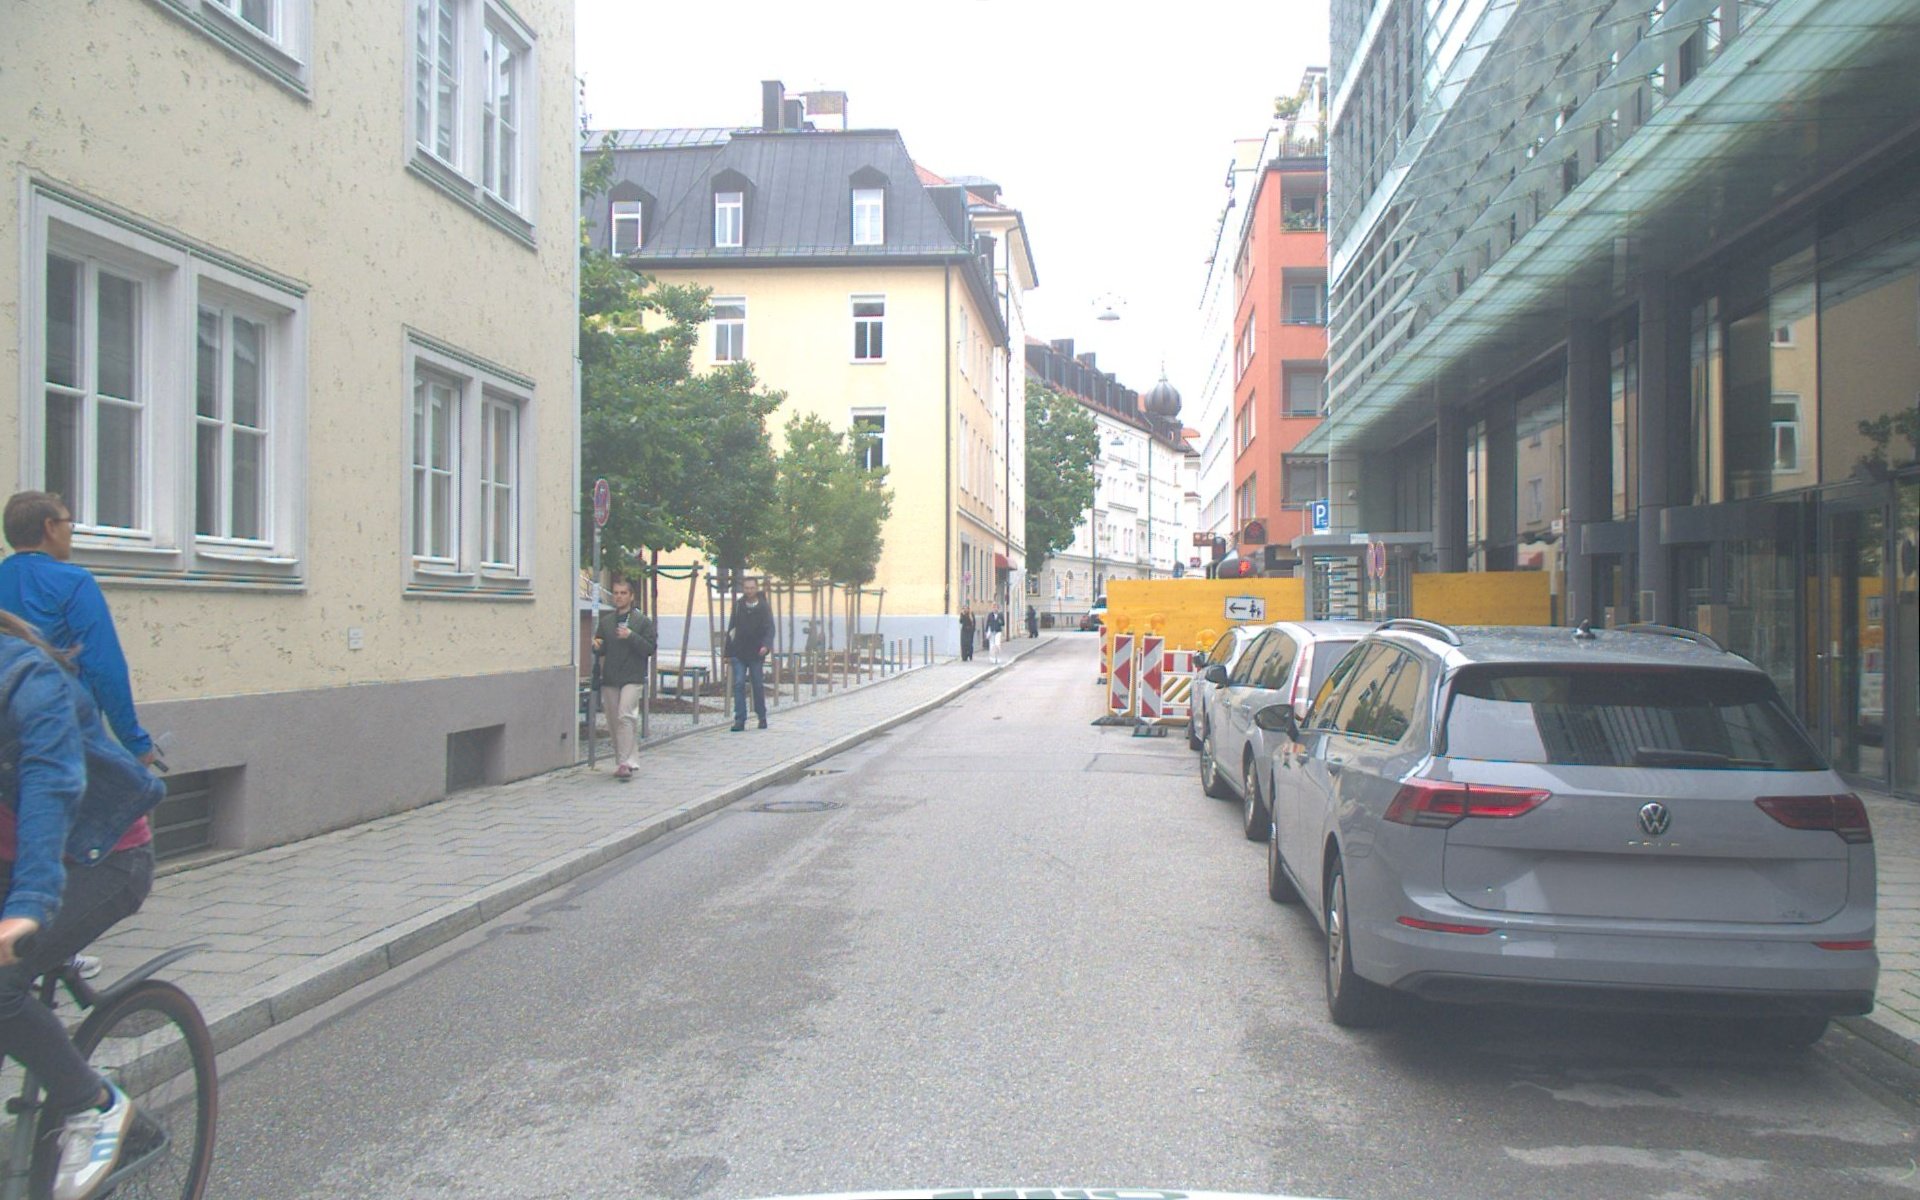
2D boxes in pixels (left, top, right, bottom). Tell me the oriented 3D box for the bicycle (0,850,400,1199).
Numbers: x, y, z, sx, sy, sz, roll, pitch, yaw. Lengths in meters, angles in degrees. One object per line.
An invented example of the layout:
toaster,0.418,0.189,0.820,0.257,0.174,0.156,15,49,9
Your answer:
bicycle,-1.788,1.069,3.158,0.693,0.921,1.810,-1,-1,5

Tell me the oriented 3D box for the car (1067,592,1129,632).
car,8.743,0.754,104.669,1.956,2.440,4.983,0,0,30

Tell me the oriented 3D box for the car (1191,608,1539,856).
car,2.810,0.844,12.392,1.672,1.493,4.238,1,-1,2

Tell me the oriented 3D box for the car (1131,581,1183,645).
car,8.216,0.540,69.465,1.951,2.581,4.977,1,0,5

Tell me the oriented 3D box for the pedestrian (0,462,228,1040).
pedestrian,-3.312,0.490,5.976,0.741,1.887,1.077,1,-1,5

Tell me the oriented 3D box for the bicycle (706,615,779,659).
bicycle,-6.261,1.056,47.560,2.000,1.219,0.570,1,-1,12

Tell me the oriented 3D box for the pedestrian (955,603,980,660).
pedestrian,0.221,0.944,49.291,0.656,1.677,0.762,1,-1,5

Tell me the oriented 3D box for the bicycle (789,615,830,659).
bicycle,-4.138,1.008,45.603,0.499,1.165,2.054,1,0,13

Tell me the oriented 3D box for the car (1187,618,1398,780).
car,3.372,0.944,17.524,1.672,1.439,4.512,1,-1,5

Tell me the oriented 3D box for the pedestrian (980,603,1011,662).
pedestrian,1.053,0.957,48.975,0.821,1.730,0.803,1,-1,5

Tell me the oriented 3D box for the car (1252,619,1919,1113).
car,2.310,0.814,7.118,1.672,1.457,4.331,0,-1,5

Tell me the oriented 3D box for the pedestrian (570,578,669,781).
pedestrian,-2.940,0.676,14.332,0.633,1.706,0.724,1,-1,4

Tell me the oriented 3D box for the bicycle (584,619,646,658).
bicycle,-9.940,1.113,47.618,1.620,1.088,0.598,1,-1,9

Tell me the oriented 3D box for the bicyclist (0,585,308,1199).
bicyclist,-1.790,0.679,3.194,0.693,1.395,0.813,-1,-1,5

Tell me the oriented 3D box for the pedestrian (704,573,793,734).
pedestrian,-2.595,0.645,20.423,0.849,1.914,1.135,1,-1,4

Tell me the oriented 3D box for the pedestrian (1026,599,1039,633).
pedestrian,3.625,0.803,82.387,0.621,1.704,0.518,1,-1,5
